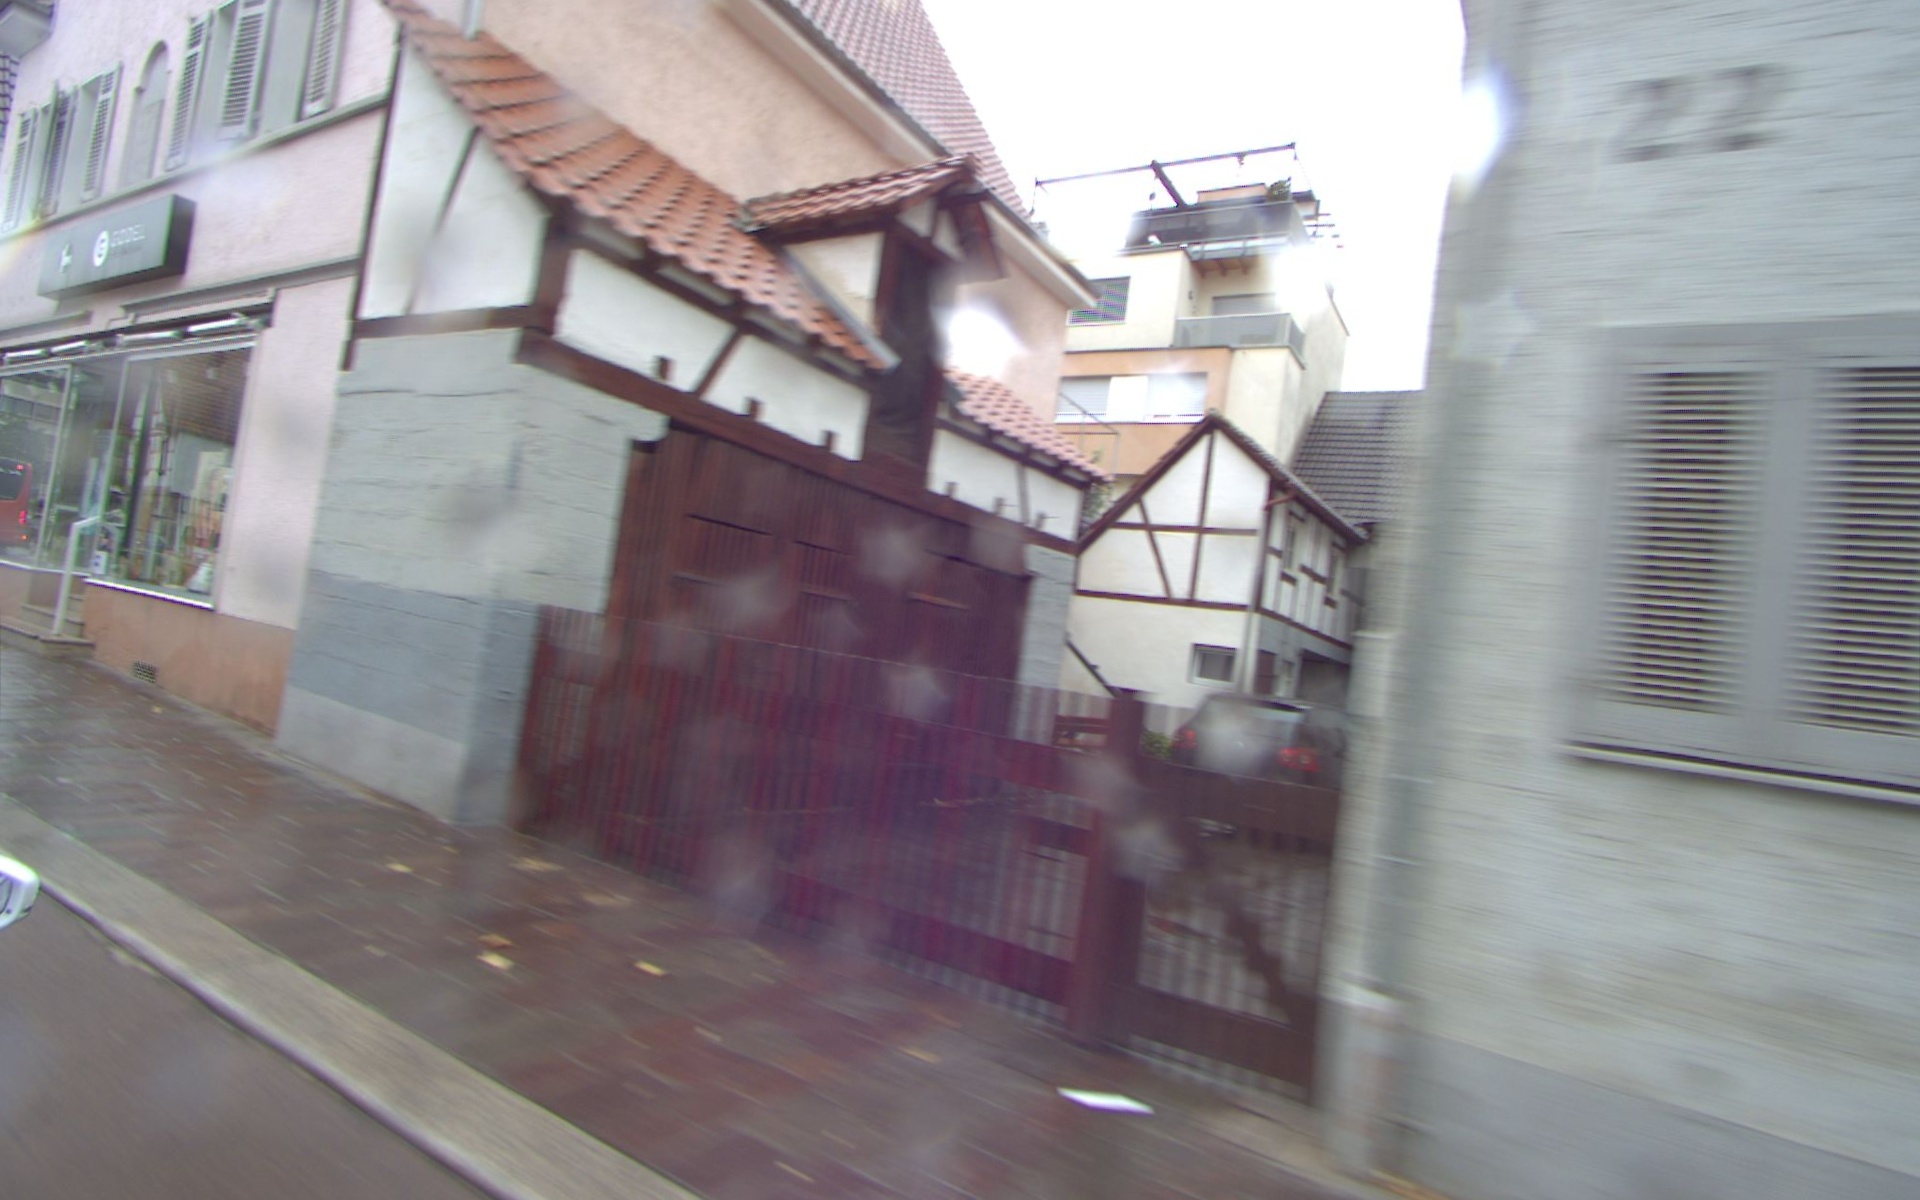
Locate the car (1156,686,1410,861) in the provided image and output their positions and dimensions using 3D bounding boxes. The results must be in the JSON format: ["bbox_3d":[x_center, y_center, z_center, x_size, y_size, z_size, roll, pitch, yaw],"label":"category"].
[{"bbox_3d":[3.745,1.874,11.300,1.641,1.438,3.411,5,-4,36],"label":"car"}]
